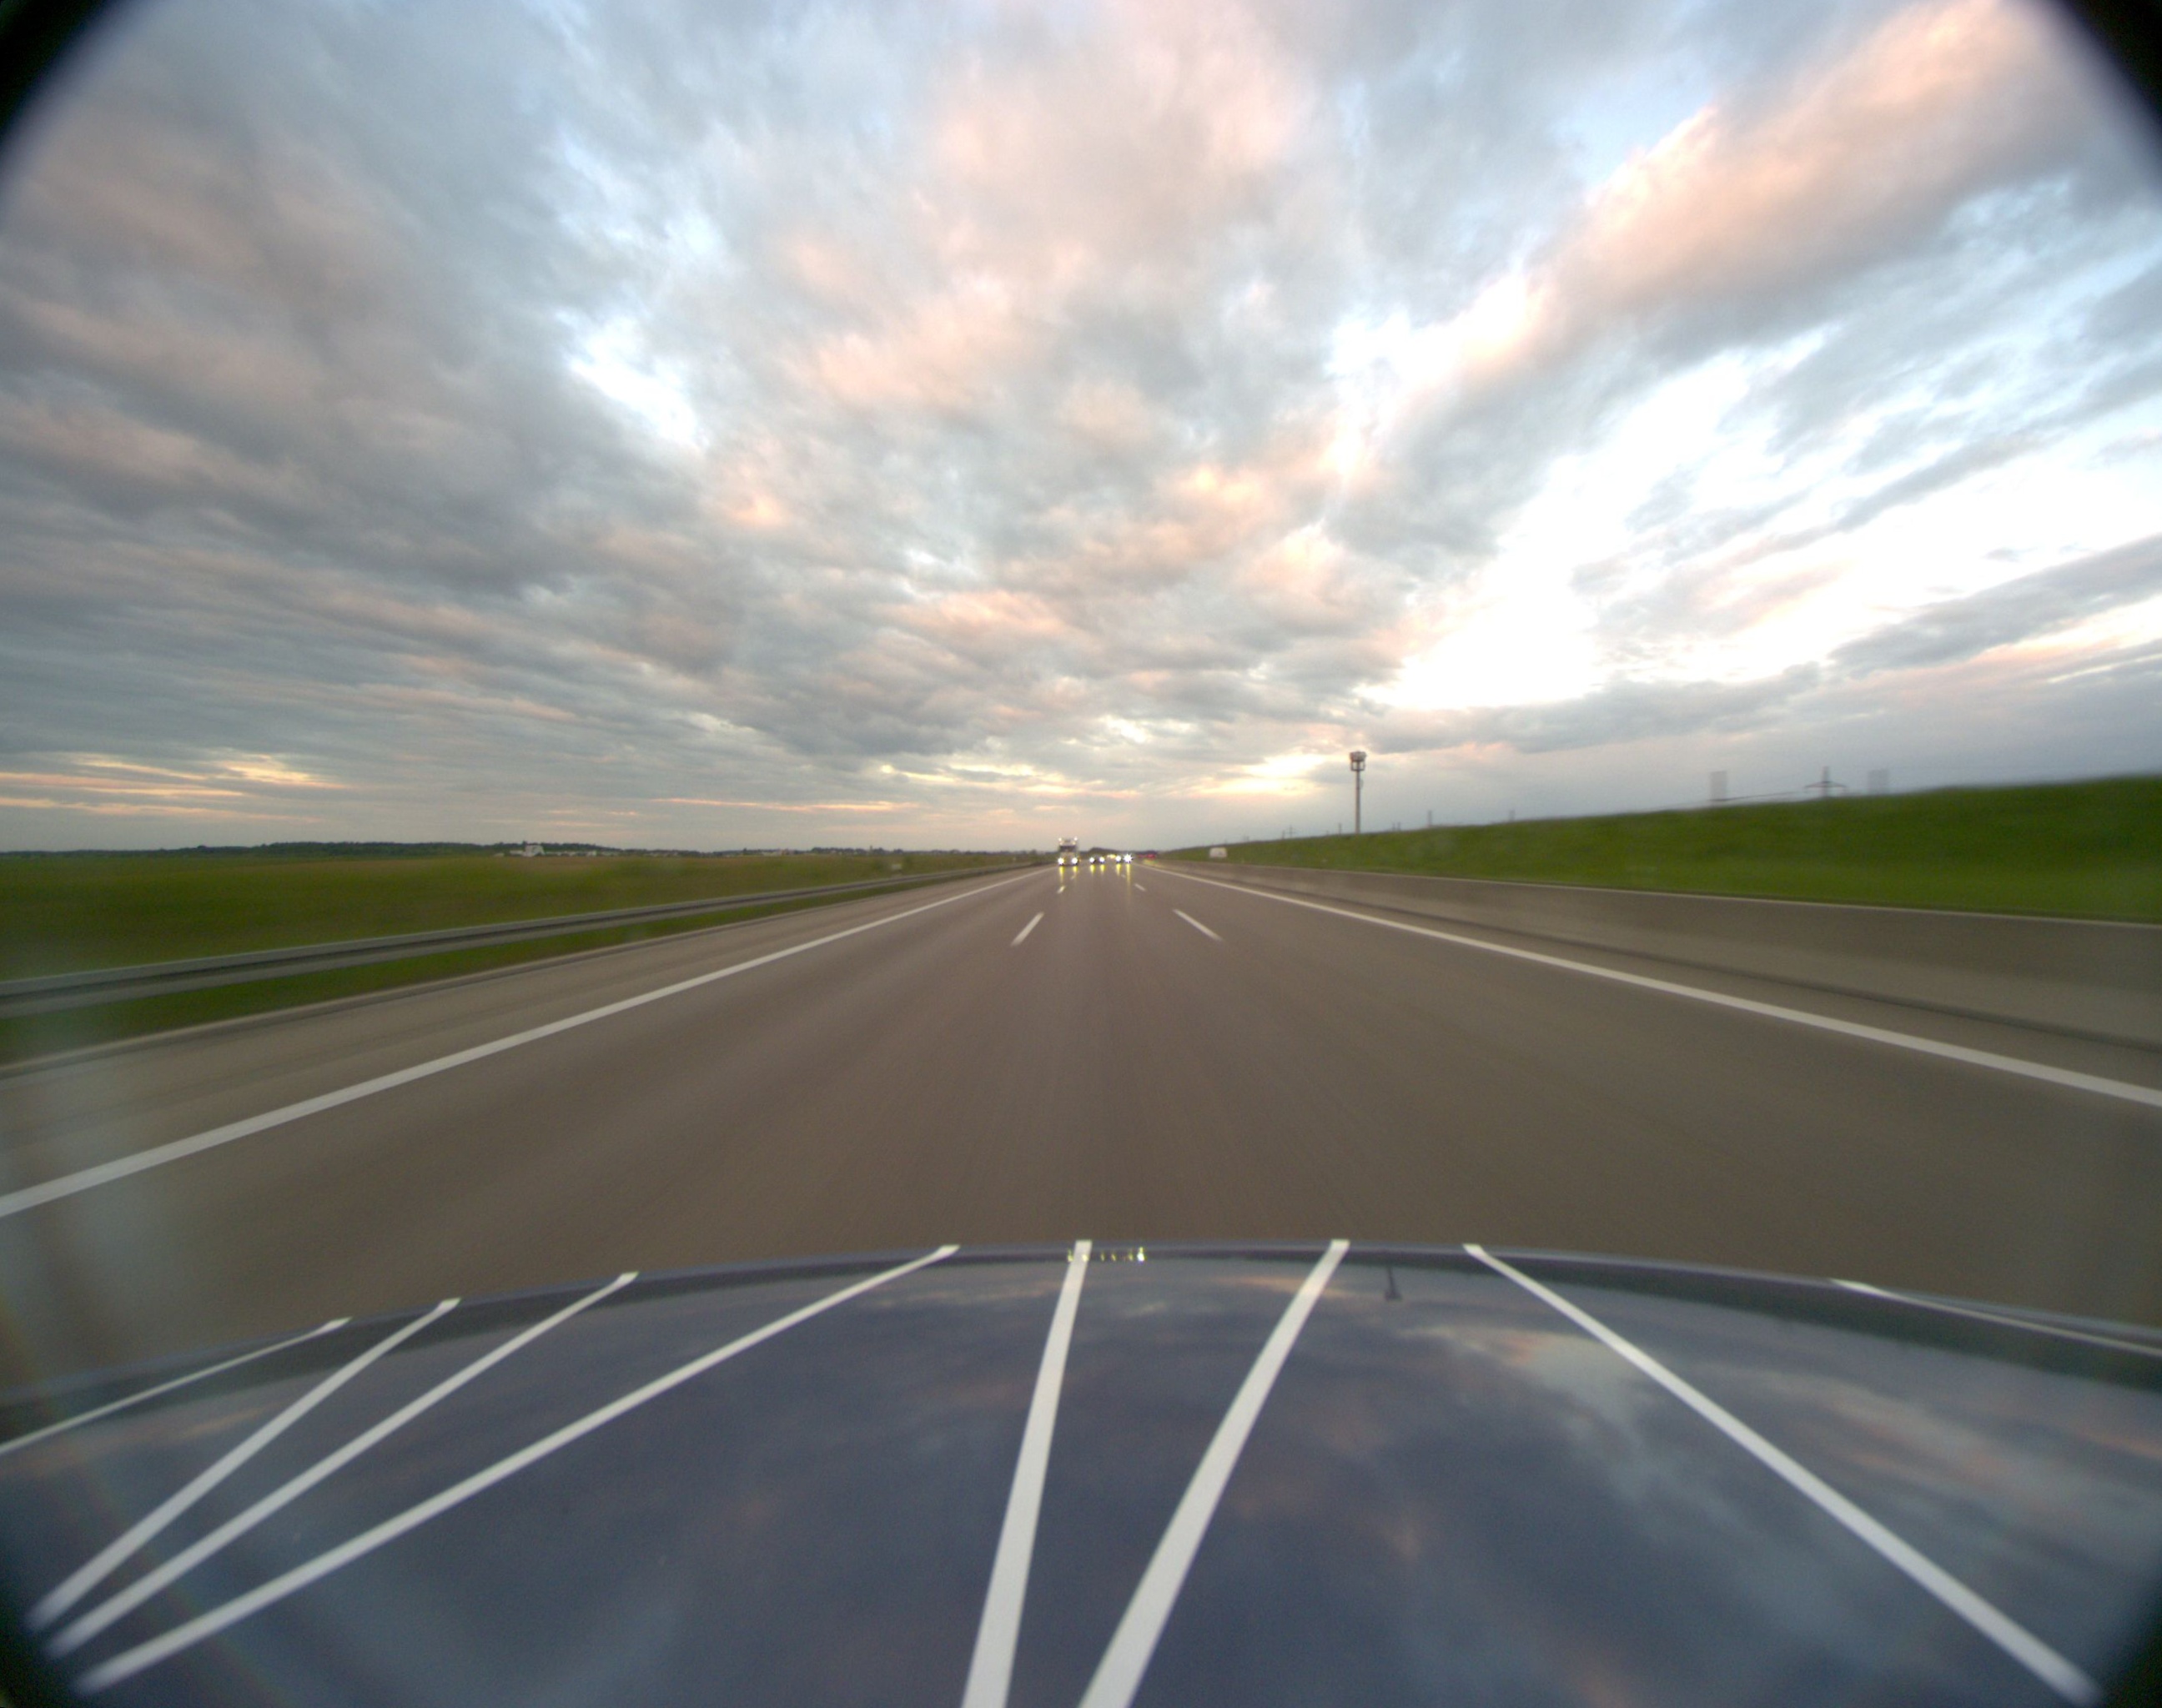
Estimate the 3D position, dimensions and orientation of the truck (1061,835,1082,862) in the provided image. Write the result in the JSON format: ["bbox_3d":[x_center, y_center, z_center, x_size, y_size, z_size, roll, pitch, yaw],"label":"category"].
[{"bbox_3d":[-1.381,-0.817,118.449,2.596,3.999,12.986,-1,0,2],"label":"truck"}]

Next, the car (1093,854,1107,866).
[{"bbox_3d":[2.868,0.821,113.624,1.998,1.652,4.851,-3,1,3],"label":"car"}]

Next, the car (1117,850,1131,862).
[{"bbox_3d":[6.839,0.283,120.240,1.998,1.652,4.000,-3,1,2],"label":"car"}]

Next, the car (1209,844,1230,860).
[{"bbox_3d":[22.383,-0.307,123.058,1.998,2.532,7.377,0,0,1],"label":"car"}]

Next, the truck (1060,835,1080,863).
[{"bbox_3d":[-1.622,-0.758,112.122,2.596,3.999,5.860,-1,0,2],"label":"truck"}]
